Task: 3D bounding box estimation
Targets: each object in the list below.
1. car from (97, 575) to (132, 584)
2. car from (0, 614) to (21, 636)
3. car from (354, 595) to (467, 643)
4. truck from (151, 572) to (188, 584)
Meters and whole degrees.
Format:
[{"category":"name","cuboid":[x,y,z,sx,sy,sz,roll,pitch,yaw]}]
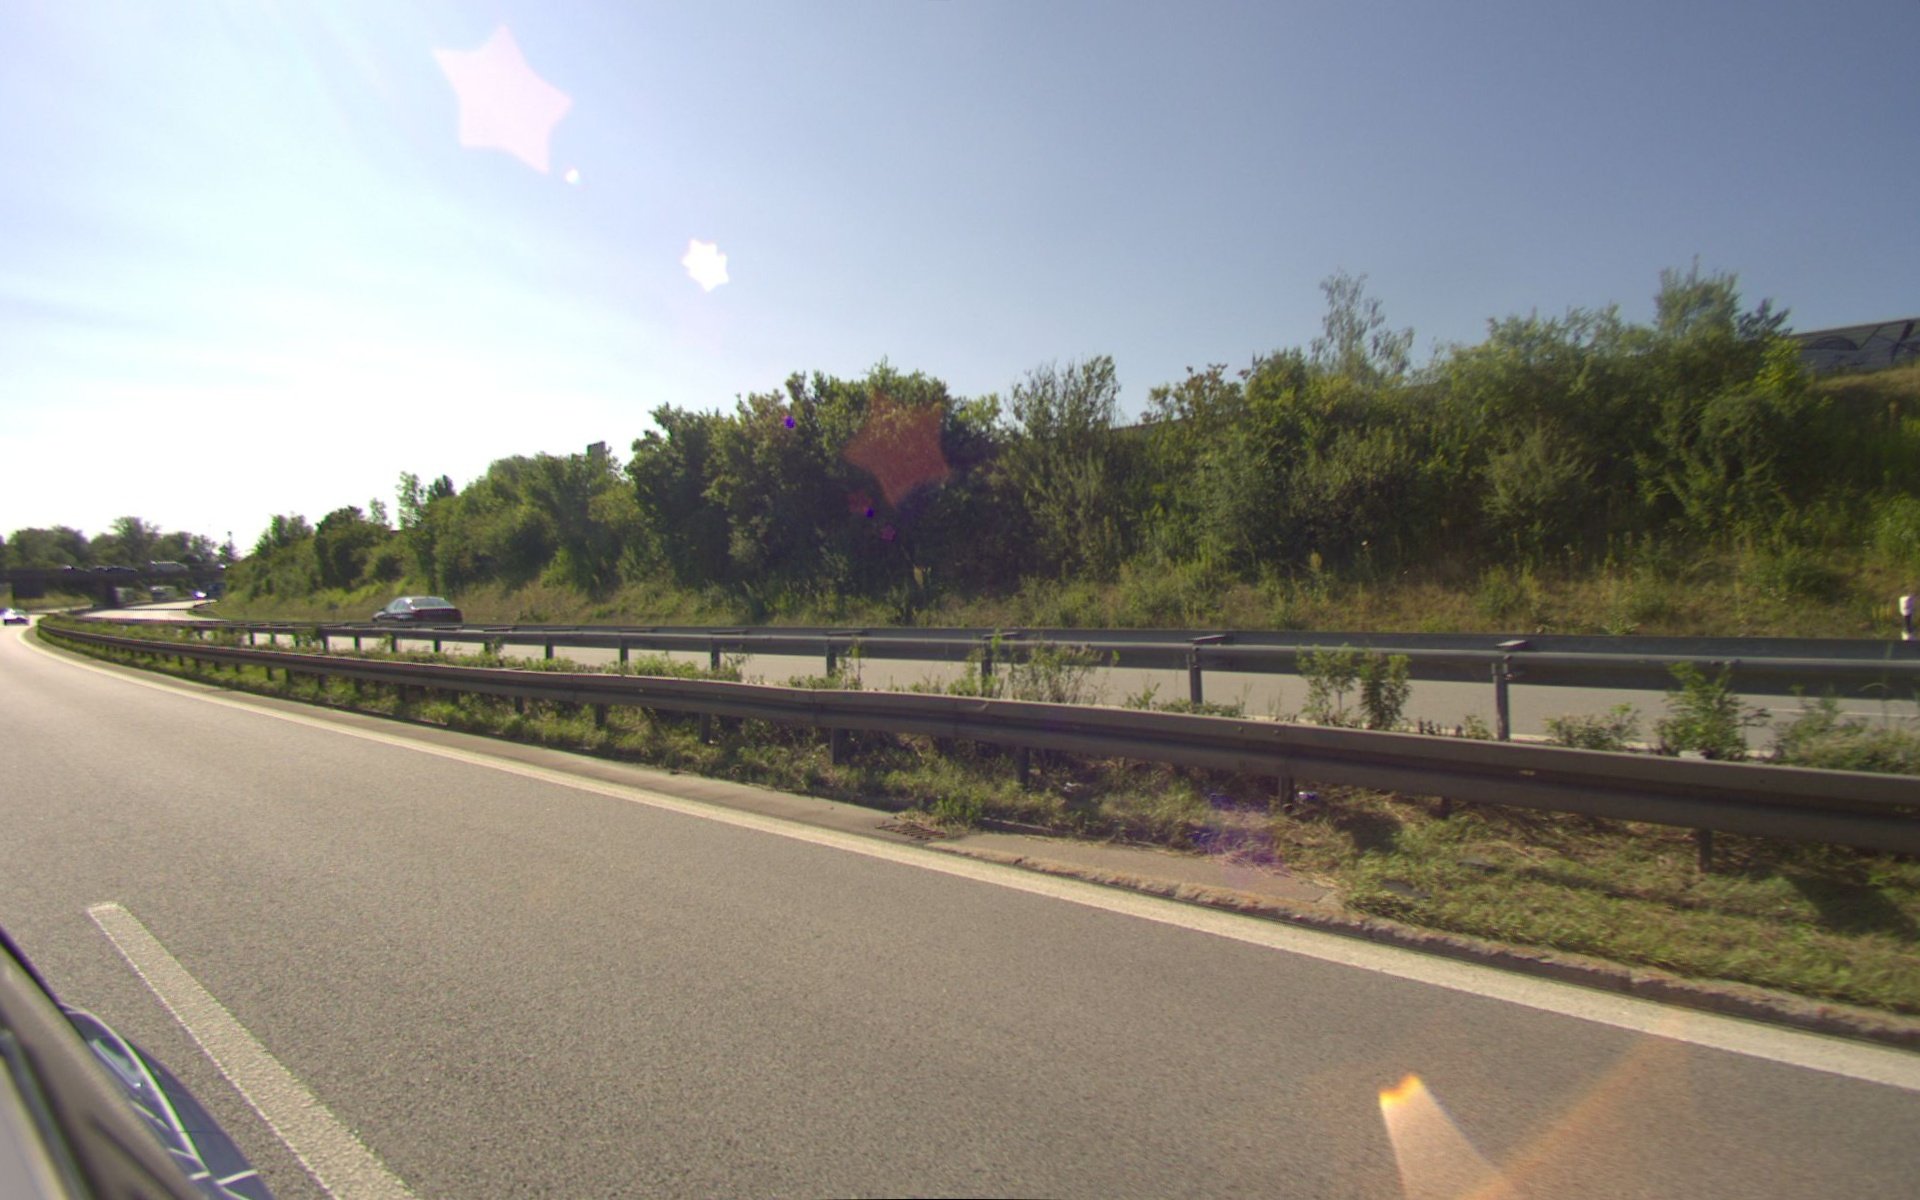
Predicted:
[{"category":"car","cuboid":[-140.861,-3.447,168.703,4.370,1.567,1.911,-1,2,-36]},{"category":"car","cuboid":[-90.629,2.353,96.139,1.970,2.029,4.603,-3,1,-44]},{"category":"car","cuboid":[-19.521,0.670,35.828,5.173,1.576,1.946,-1,-1,42]},{"category":"truck","cuboid":[-135.069,-3.767,172.976,4.792,2.183,2.005,-1,2,-36]}]
